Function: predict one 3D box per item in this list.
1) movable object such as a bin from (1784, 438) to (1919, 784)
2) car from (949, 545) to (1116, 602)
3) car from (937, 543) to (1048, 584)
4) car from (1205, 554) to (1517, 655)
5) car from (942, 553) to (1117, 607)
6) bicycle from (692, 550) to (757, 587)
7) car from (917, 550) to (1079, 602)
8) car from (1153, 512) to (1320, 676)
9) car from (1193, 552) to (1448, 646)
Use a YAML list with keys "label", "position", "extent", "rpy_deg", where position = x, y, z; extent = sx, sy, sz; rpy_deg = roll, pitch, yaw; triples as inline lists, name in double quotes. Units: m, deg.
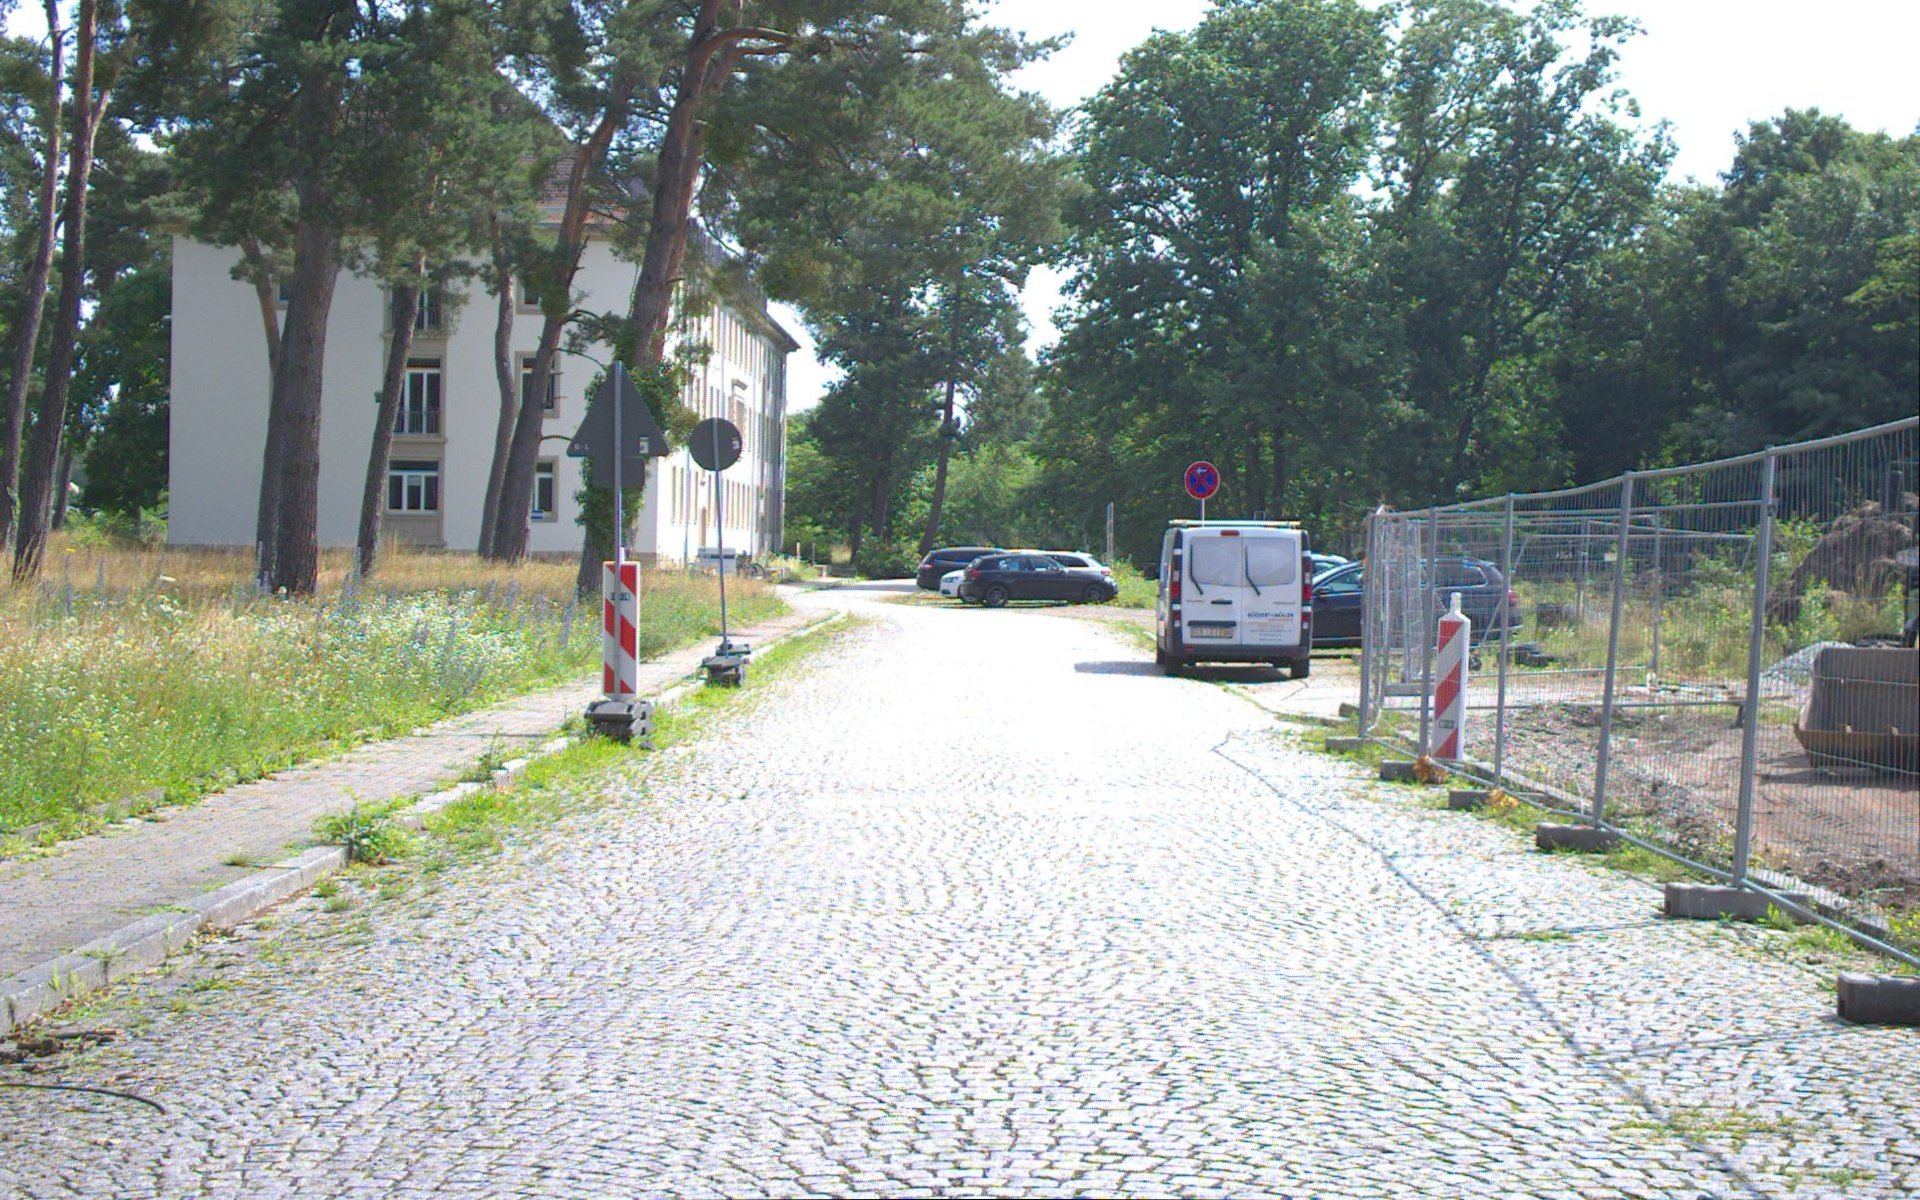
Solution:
- label: "movable object such as a bin"
  position: [8.414, 0.026, 27.357]
  extent: [2.146, 2.513, 5.647]
  rpy_deg: [1, 2, 29]
- label: "car"
  position: [1.954, -0.727, 93.594]
  extent: [4.323, 1.495, 1.830]
  rpy_deg: [0, 2, -7]
- label: "car"
  position: [1.254, -1.400, 132.198]
  extent: [4.187, 1.538, 1.820]
  rpy_deg: [0, 0, 3]
- label: "car"
  position: [6.048, 0.055, 52.162]
  extent: [4.453, 1.470, 1.746]
  rpy_deg: [0, 1, -3]
- label: "car"
  position: [1.922, -0.568, 96.705]
  extent: [4.862, 1.467, 1.875]
  rpy_deg: [0, 2, -1]
- label: "bicycle"
  position: [-8.319, -1.112, 121.285]
  extent: [2.222, 1.256, 0.623]
  rpy_deg: [1, 0, 3]
- label: "car"
  position: [1.140, -0.716, 104.068]
  extent: [4.852, 1.547, 1.880]
  rpy_deg: [0, 0, -1]
- label: "car"
  position: [3.644, -0.105, 46.208]
  extent: [1.914, 2.046, 5.678]
  rpy_deg: [1, 1, 2]
- label: "car"
  position: [5.925, -0.027, 56.804]
  extent: [3.986, 1.501, 1.747]
  rpy_deg: [0, 1, -2]
